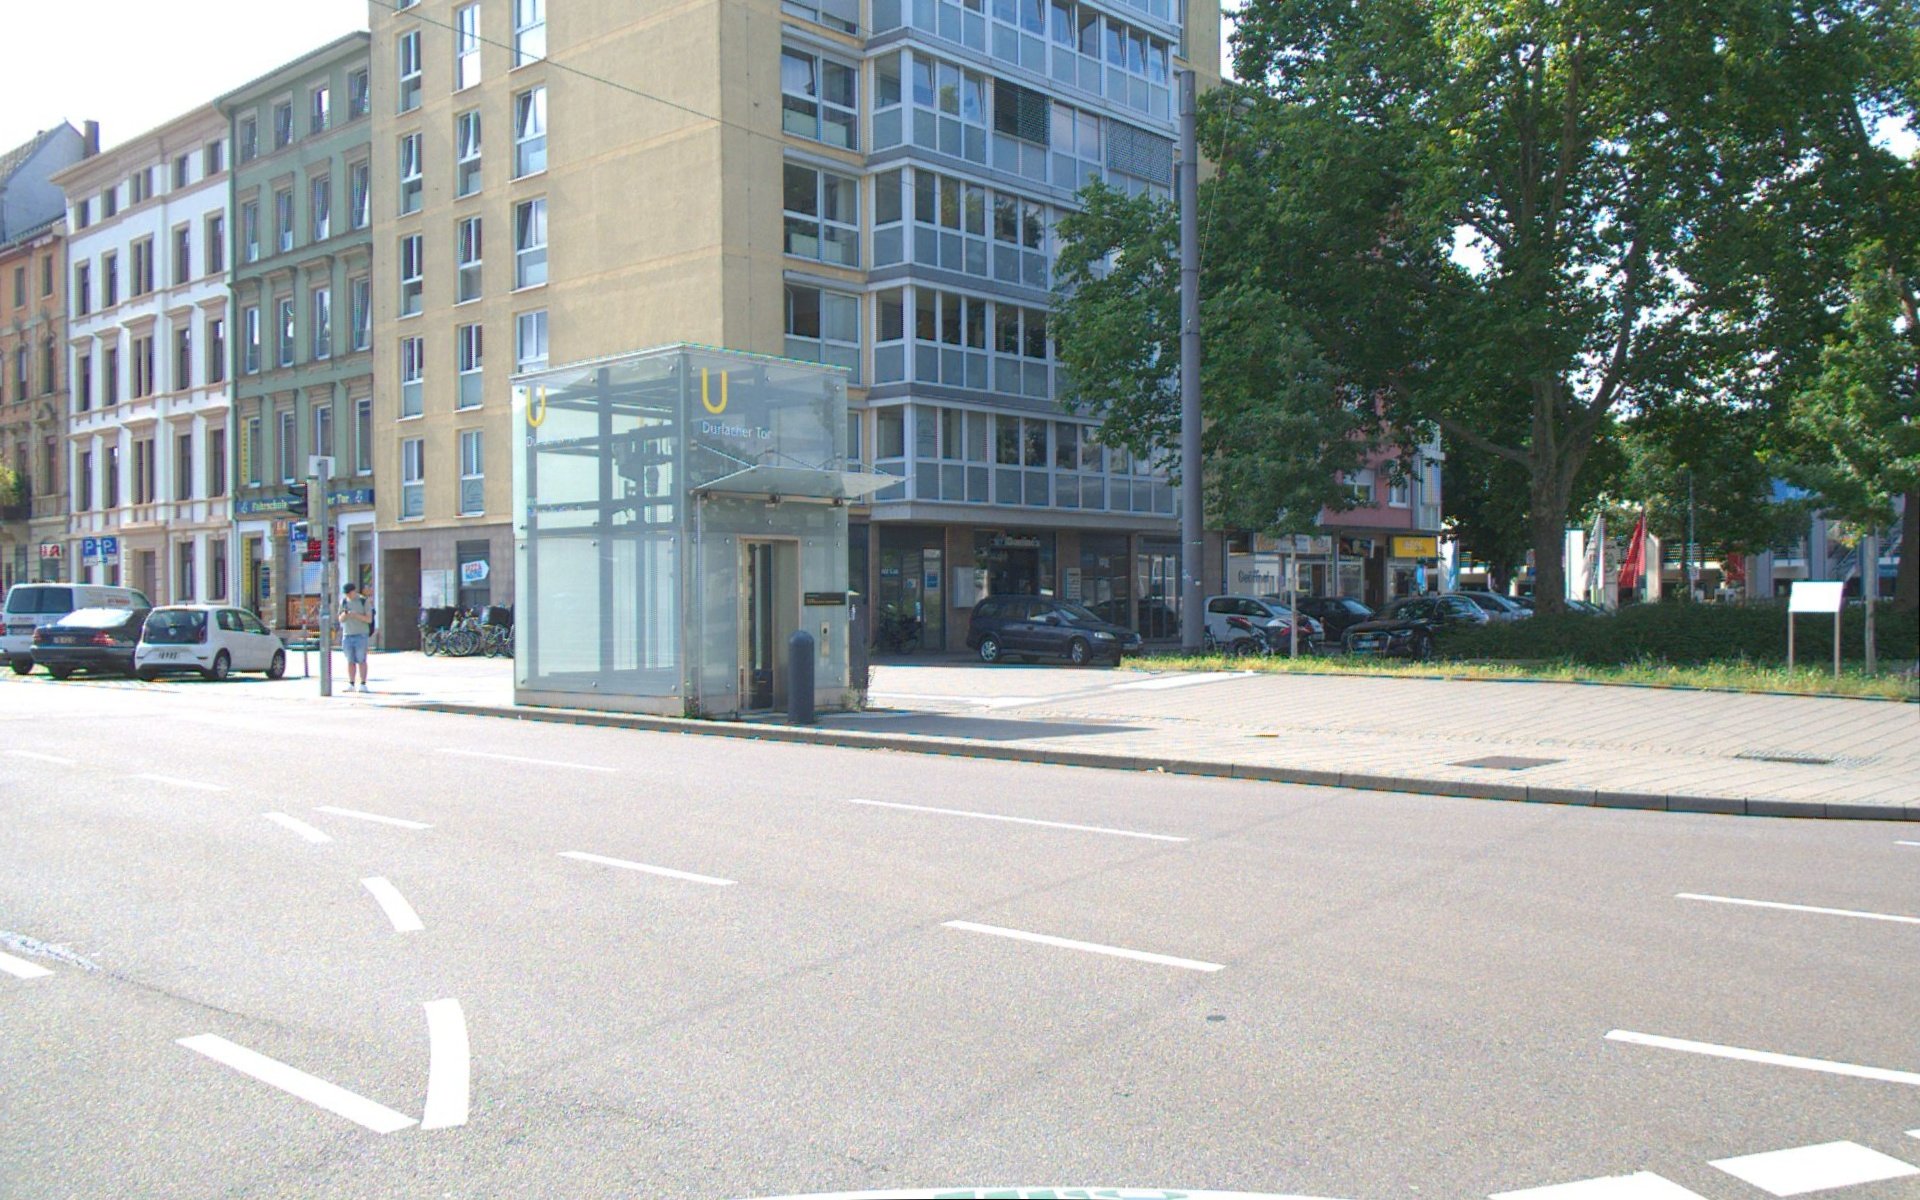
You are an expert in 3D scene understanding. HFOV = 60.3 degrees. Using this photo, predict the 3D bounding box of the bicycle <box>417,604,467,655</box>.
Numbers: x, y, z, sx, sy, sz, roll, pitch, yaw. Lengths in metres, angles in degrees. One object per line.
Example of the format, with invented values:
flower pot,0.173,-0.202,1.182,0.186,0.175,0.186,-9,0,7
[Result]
bicycle,-13.332,0.754,42.584,1.616,1.222,0.485,3,3,42

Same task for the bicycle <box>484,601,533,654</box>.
bicycle,-11.118,0.669,40.701,0.484,1.222,1.620,-1,3,-43

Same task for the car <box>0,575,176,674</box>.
car,-20.209,0.513,38.192,2.031,2.121,4.897,1,0,-2

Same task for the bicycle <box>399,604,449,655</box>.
bicycle,-13.675,0.742,42.162,1.616,1.222,0.485,3,3,42

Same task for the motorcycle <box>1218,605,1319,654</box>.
motorcycle,5.990,0.570,32.192,1.850,0.918,0.605,-1,0,-1

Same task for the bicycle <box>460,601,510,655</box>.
bicycle,-11.619,0.664,40.445,0.484,1.222,1.620,-1,3,-43

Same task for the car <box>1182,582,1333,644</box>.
car,8.036,0.378,44.785,3.510,1.557,1.988,-2,-3,42

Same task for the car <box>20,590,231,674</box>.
car,-17.484,0.622,34.969,1.846,1.494,5.065,1,2,1

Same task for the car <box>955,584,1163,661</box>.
car,2.166,0.487,36.836,4.312,1.613,1.989,0,-1,41

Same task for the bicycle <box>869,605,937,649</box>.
bicycle,-1.358,0.646,39.868,0.669,1.038,1.772,-1,-2,38

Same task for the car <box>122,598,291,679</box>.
car,-15.037,0.731,33.212,1.678,1.465,3.513,2,0,2

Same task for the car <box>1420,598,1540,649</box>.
car,17.610,0.825,56.097,1.653,1.622,3.560,2,-3,-44

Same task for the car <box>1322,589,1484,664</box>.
car,9.892,0.544,36.756,1.767,1.444,3.973,4,3,44

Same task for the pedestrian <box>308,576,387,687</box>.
pedestrian,-10.078,0.519,27.226,0.767,1.790,0.996,-1,-1,18

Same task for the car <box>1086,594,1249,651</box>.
car,5.228,0.596,42.045,3.928,1.350,1.576,-2,-3,42
